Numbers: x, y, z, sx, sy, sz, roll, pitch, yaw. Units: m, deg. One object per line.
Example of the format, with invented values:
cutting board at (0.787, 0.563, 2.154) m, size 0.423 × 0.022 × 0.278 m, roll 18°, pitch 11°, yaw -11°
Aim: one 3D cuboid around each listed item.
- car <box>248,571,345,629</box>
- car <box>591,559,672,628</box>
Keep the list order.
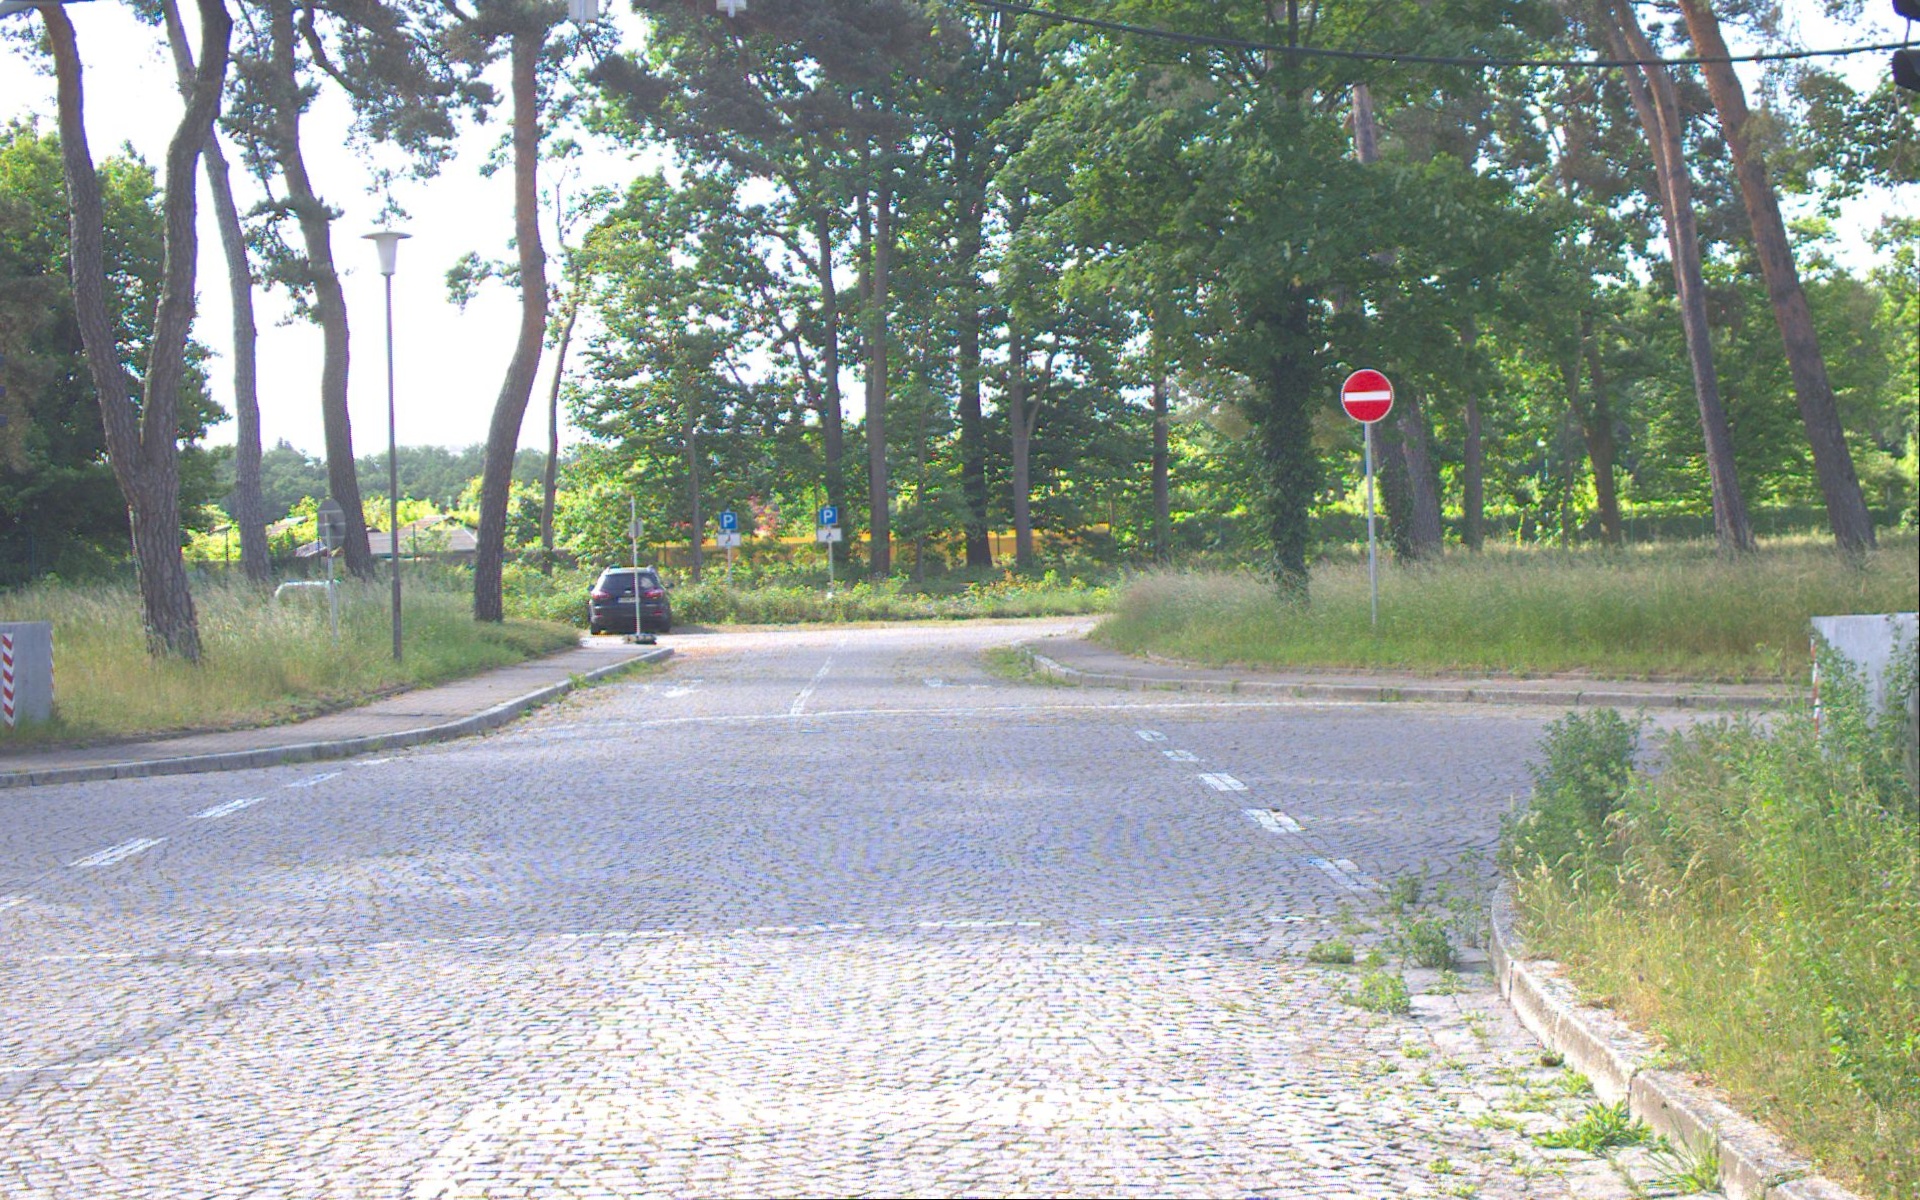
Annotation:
car at (-15.611, -0.021, 81.073) m, size 1.709 × 1.269 × 3.919 m, roll -2°, pitch 1°, yaw -3°
car at (-7.660, -0.173, 80.426) m, size 1.709 × 1.491 × 3.919 m, roll -2°, pitch 1°, yaw -3°
